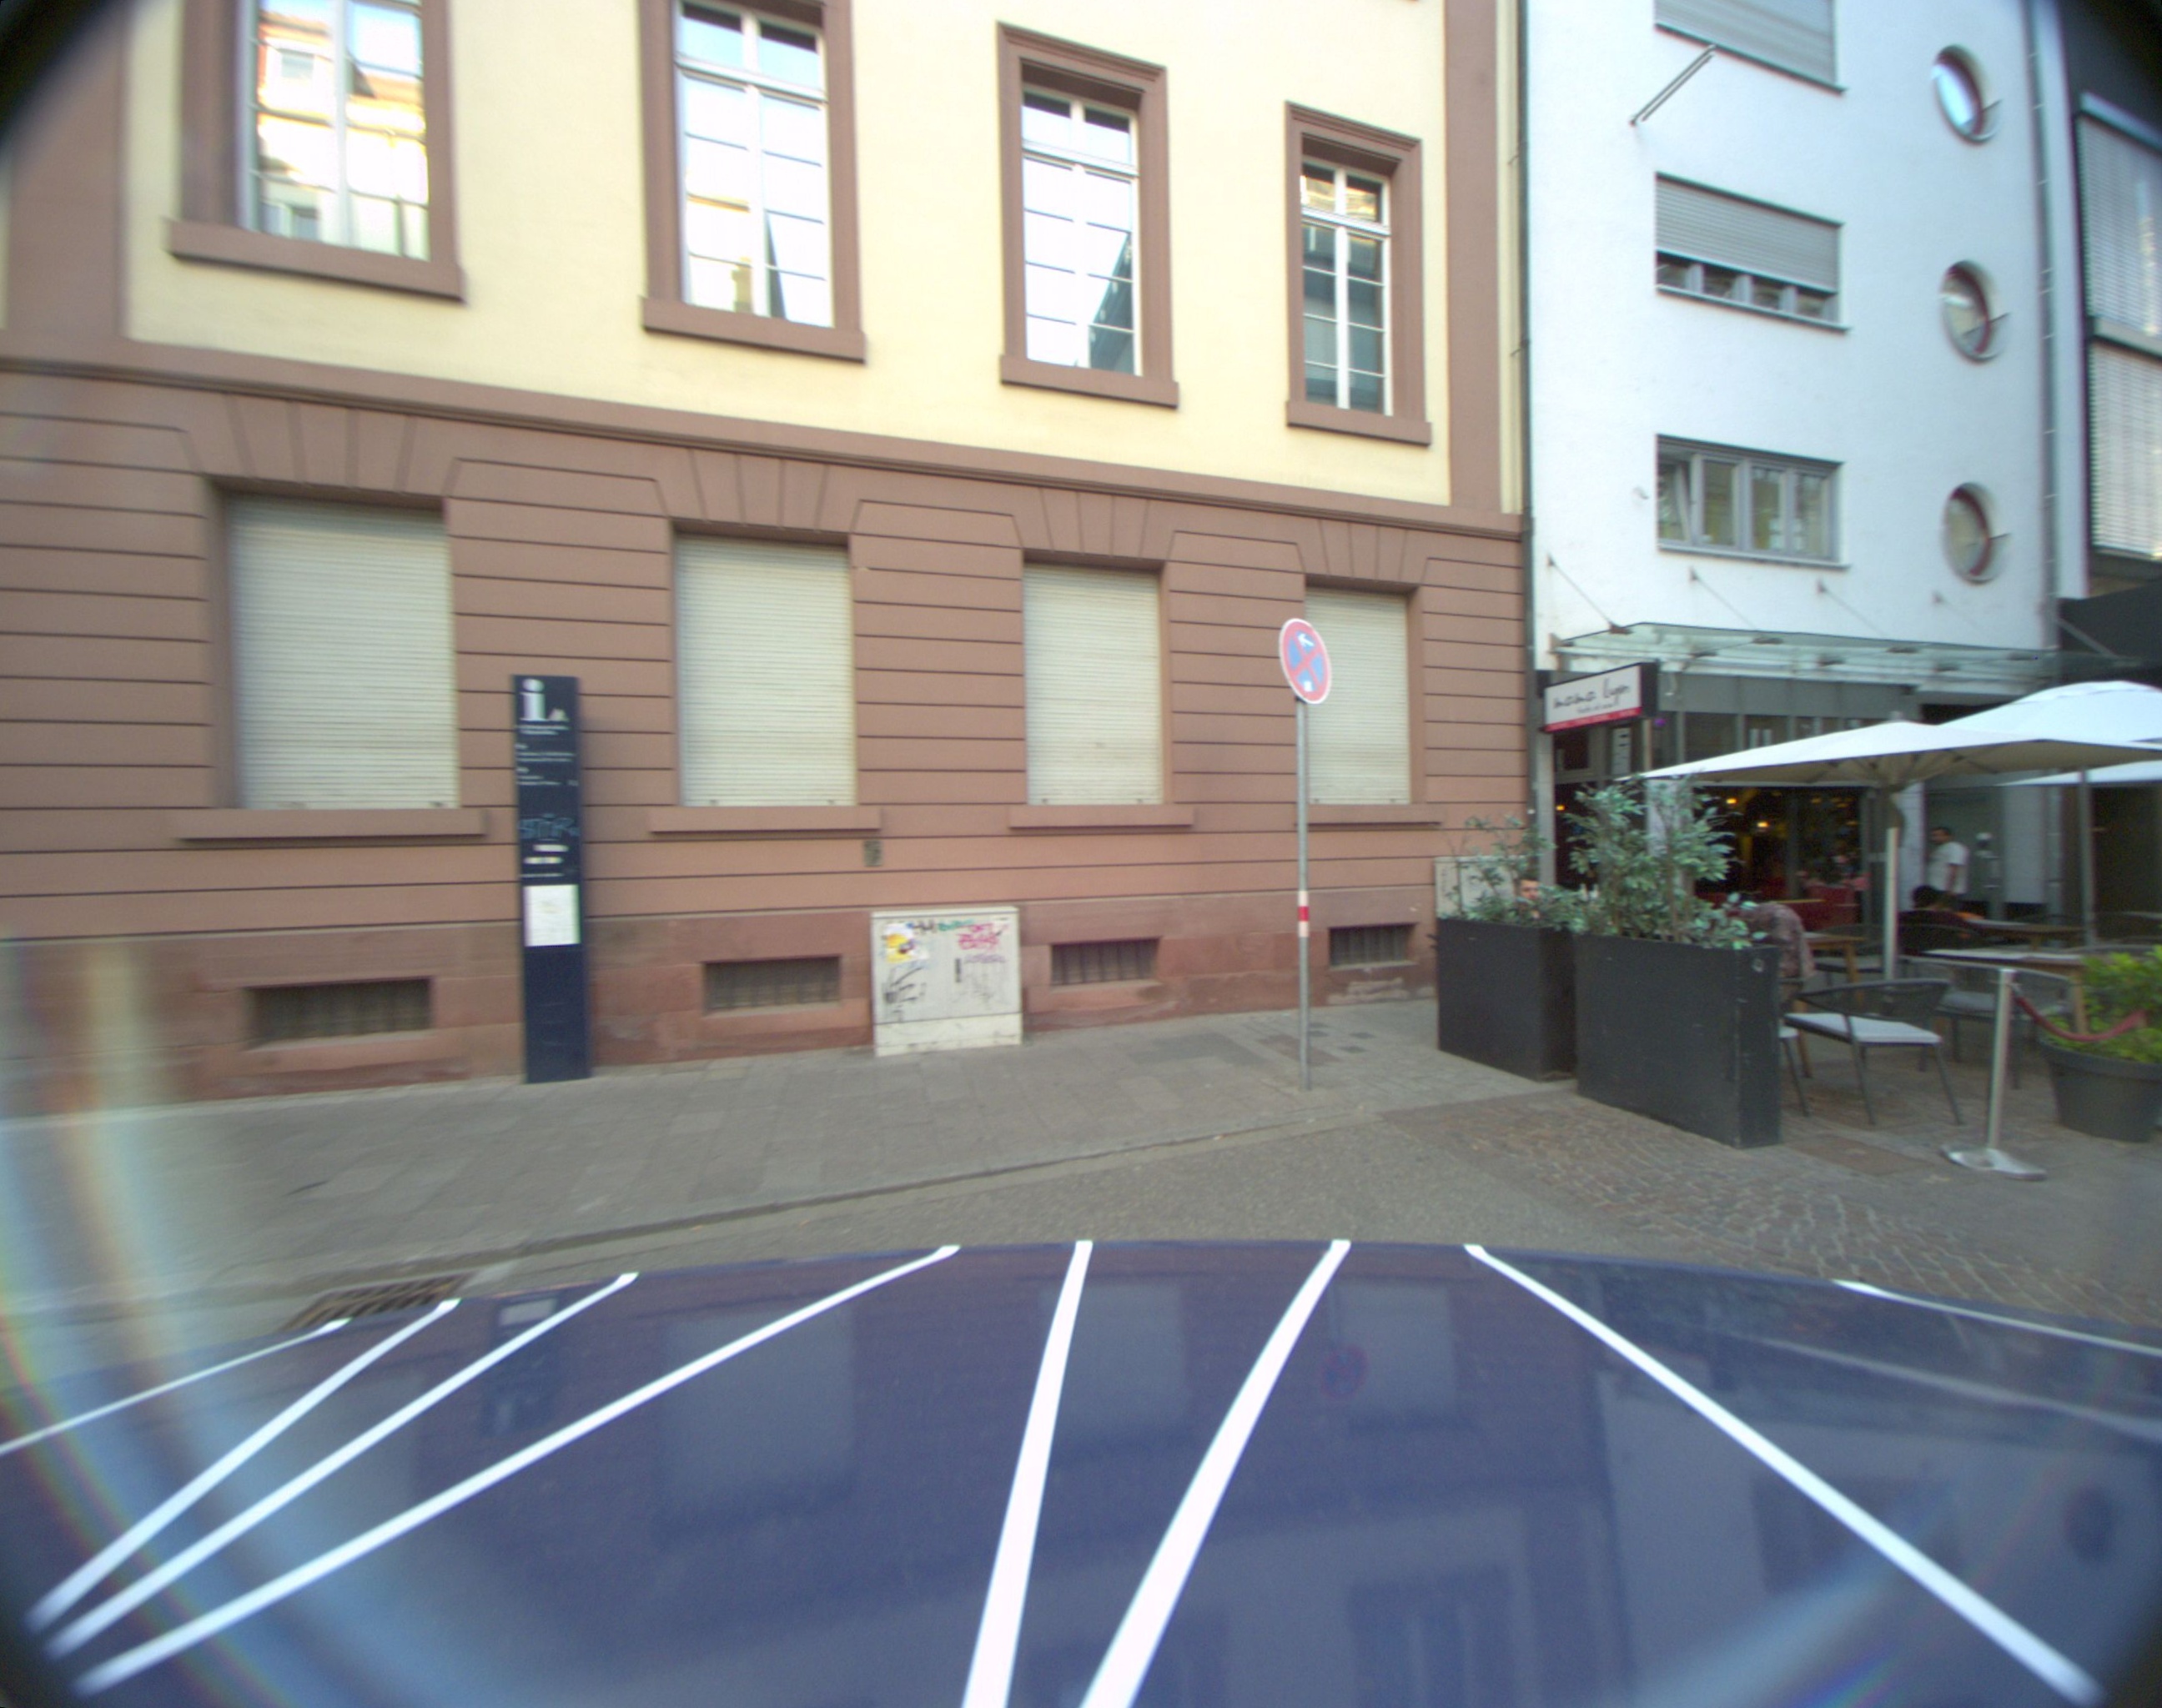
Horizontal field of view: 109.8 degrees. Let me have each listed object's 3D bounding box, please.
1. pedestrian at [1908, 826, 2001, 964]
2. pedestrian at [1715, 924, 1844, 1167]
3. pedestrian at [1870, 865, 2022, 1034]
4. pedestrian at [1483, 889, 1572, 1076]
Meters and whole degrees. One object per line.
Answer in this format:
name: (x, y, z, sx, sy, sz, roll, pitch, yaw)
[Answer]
pedestrian: (11.677, 0.527, 10.170, 0.603, 1.762, 0.639, -2, 1, -20)
pedestrian: (3.832, 1.012, 4.178, 0.384, 1.206, 0.399, -2, 1, -25)
pedestrian: (7.825, 0.824, 6.884, 0.868, 1.412, 0.575, -1, 1, -14)
pedestrian: (3.329, 0.925, 5.673, 0.496, 1.298, 0.362, -2, 1, -29)
